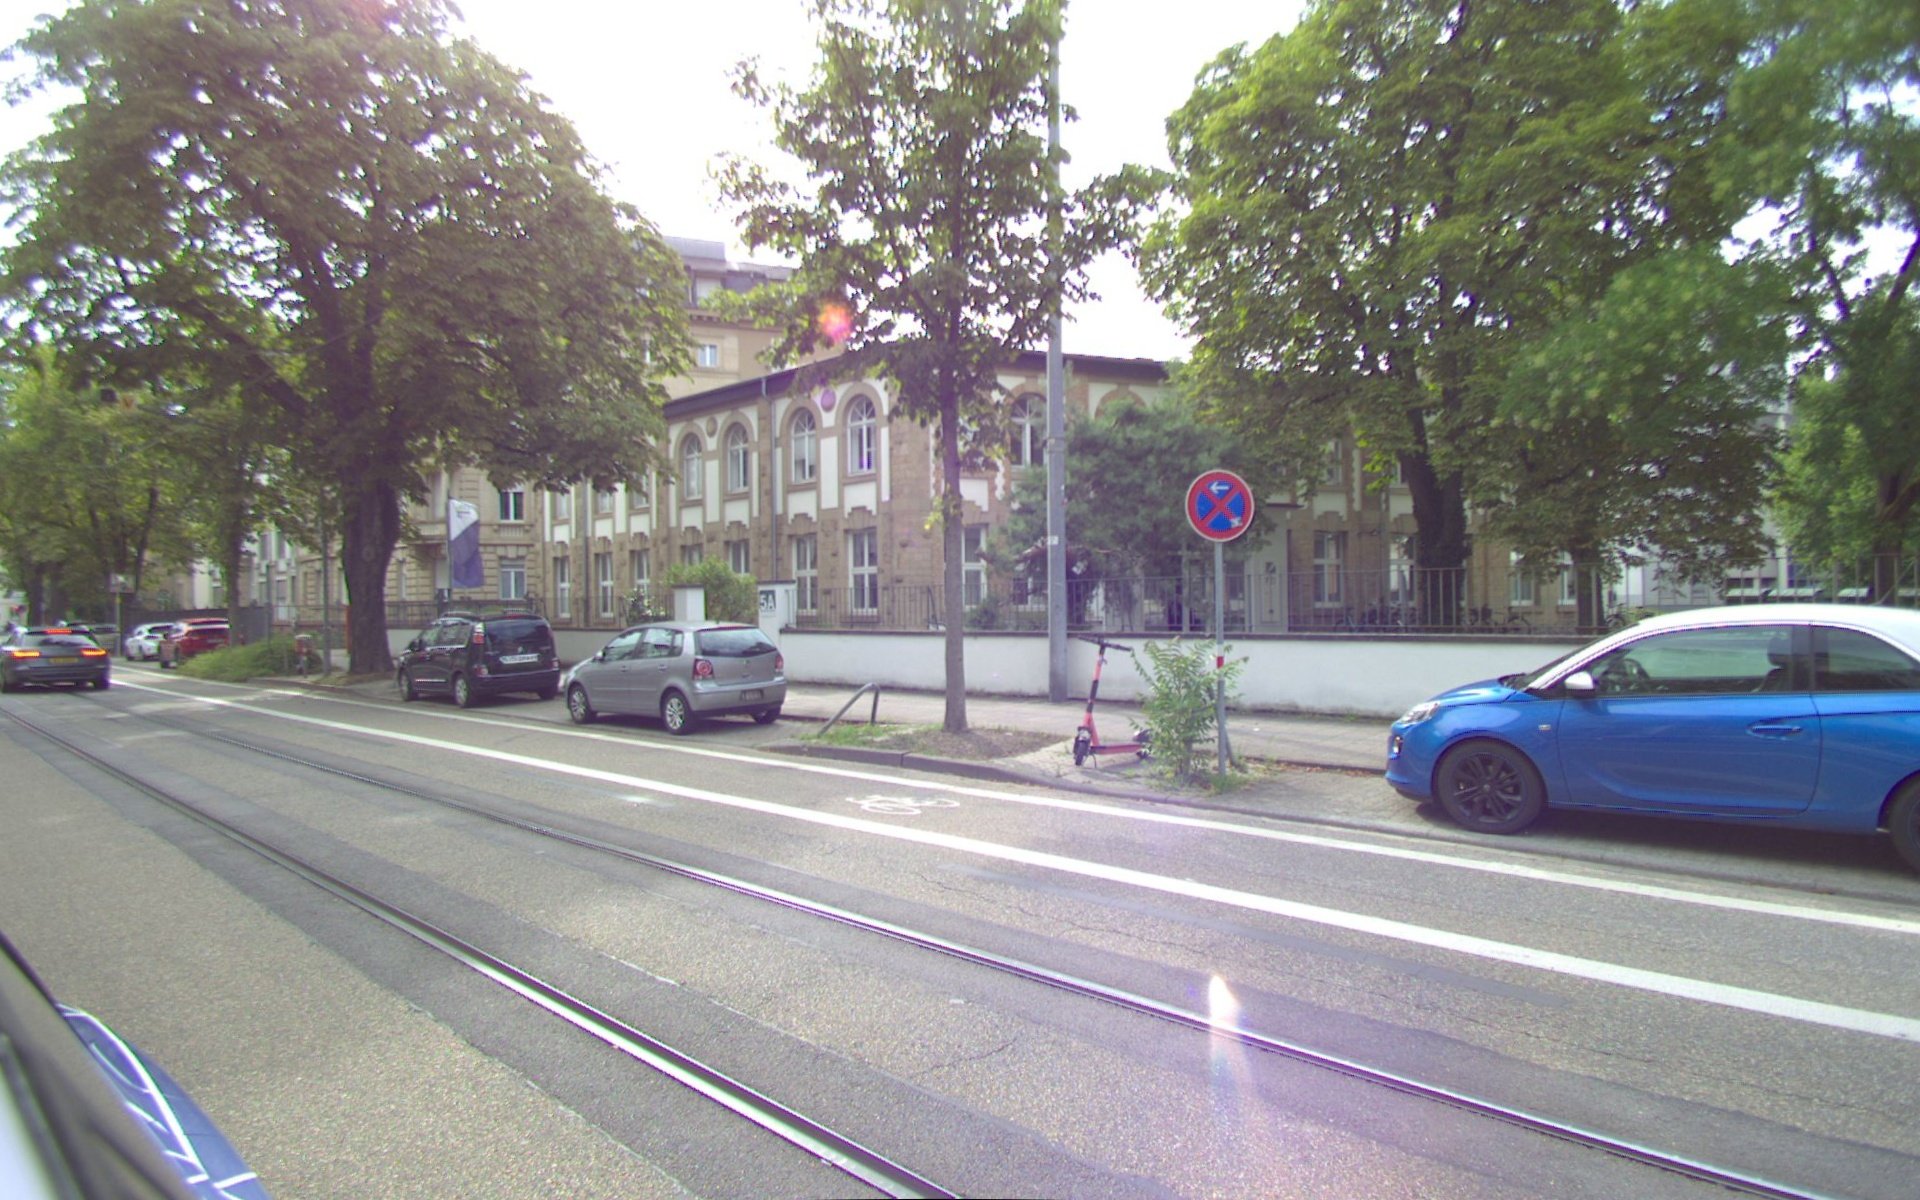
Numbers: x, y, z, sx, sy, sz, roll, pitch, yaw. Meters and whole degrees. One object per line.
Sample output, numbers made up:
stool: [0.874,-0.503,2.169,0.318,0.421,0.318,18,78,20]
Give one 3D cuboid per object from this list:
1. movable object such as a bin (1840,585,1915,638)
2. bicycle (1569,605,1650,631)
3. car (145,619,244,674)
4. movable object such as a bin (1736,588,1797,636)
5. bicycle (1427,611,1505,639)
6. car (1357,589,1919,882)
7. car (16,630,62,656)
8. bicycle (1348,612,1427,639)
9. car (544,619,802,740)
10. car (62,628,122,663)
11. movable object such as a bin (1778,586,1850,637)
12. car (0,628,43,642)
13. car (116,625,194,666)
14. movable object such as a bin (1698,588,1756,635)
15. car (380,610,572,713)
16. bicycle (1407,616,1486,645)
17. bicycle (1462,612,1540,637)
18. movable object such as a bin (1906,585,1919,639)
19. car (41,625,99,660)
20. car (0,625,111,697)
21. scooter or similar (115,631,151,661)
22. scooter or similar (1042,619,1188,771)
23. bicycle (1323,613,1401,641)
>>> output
movable object such as a bin: [24.834,0.314,27.412,0.846,1.385,1.208,-2,0,-22]
bicycle: [20.604,0.573,32.150,0.702,0.779,2.053,-2,0,-28]
car: [-25.957,1.528,34.257,4.540,1.667,1.704,-2,1,41]
movable object such as a bin: [23.837,0.347,29.928,0.954,1.385,1.024,-2,0,-22]
bicycle: [15.066,0.741,30.186,0.702,0.779,2.053,-2,0,-28]
car: [4.749,0.720,6.570,3.675,1.498,1.675,-2,0,41]
car: [-54.776,2.532,60.175,4.166,1.435,1.701,-2,1,44]
bicycle: [12.175,0.723,28.892,0.702,0.713,2.053,-2,0,-28]
car: [-4.153,1.030,14.368,3.866,1.438,1.675,-2,0,41]
car: [-40.190,2.079,46.822,4.077,1.479,1.584,-2,-1,42]
movable object such as a bin: [24.244,0.333,28.745,0.954,1.385,1.208,-2,0,-22]
car: [-117.970,4.362,126.947,3.932,1.644,1.684,-1,-1,-17]
car: [-32.089,1.777,40.303,4.021,1.434,1.704,-2,1,41]
movable object such as a bin: [23.450,0.359,30.952,0.954,1.385,1.024,-2,0,-22]
car: [-9.058,1.074,18.797,4.050,1.659,1.737,-2,0,41]
bicycle: [14.259,0.881,29.695,0.702,0.779,2.053,-2,0,-28]
bicycle: [16.584,0.759,31.057,2.042,0.713,0.706,-2,0,35]
movable object such as a bin: [25.261,0.299,26.020,0.846,1.385,1.097,-2,0,-22]
car: [-45.766,2.152,51.997,4.355,1.686,1.692,-2,-1,42]
car: [-21.090,1.336,23.208,4.551,1.459,1.815,-2,-1,41]
scooter or similar: [-34.634,1.935,42.376,1.313,1.232,0.559,-1,-1,19]
scooter or similar: [1.519,0.863,9.794,0.700,1.354,1.427,-2,-2,43]
bicycle: [11.305,0.749,28.535,0.702,0.713,2.053,-2,0,-28]
